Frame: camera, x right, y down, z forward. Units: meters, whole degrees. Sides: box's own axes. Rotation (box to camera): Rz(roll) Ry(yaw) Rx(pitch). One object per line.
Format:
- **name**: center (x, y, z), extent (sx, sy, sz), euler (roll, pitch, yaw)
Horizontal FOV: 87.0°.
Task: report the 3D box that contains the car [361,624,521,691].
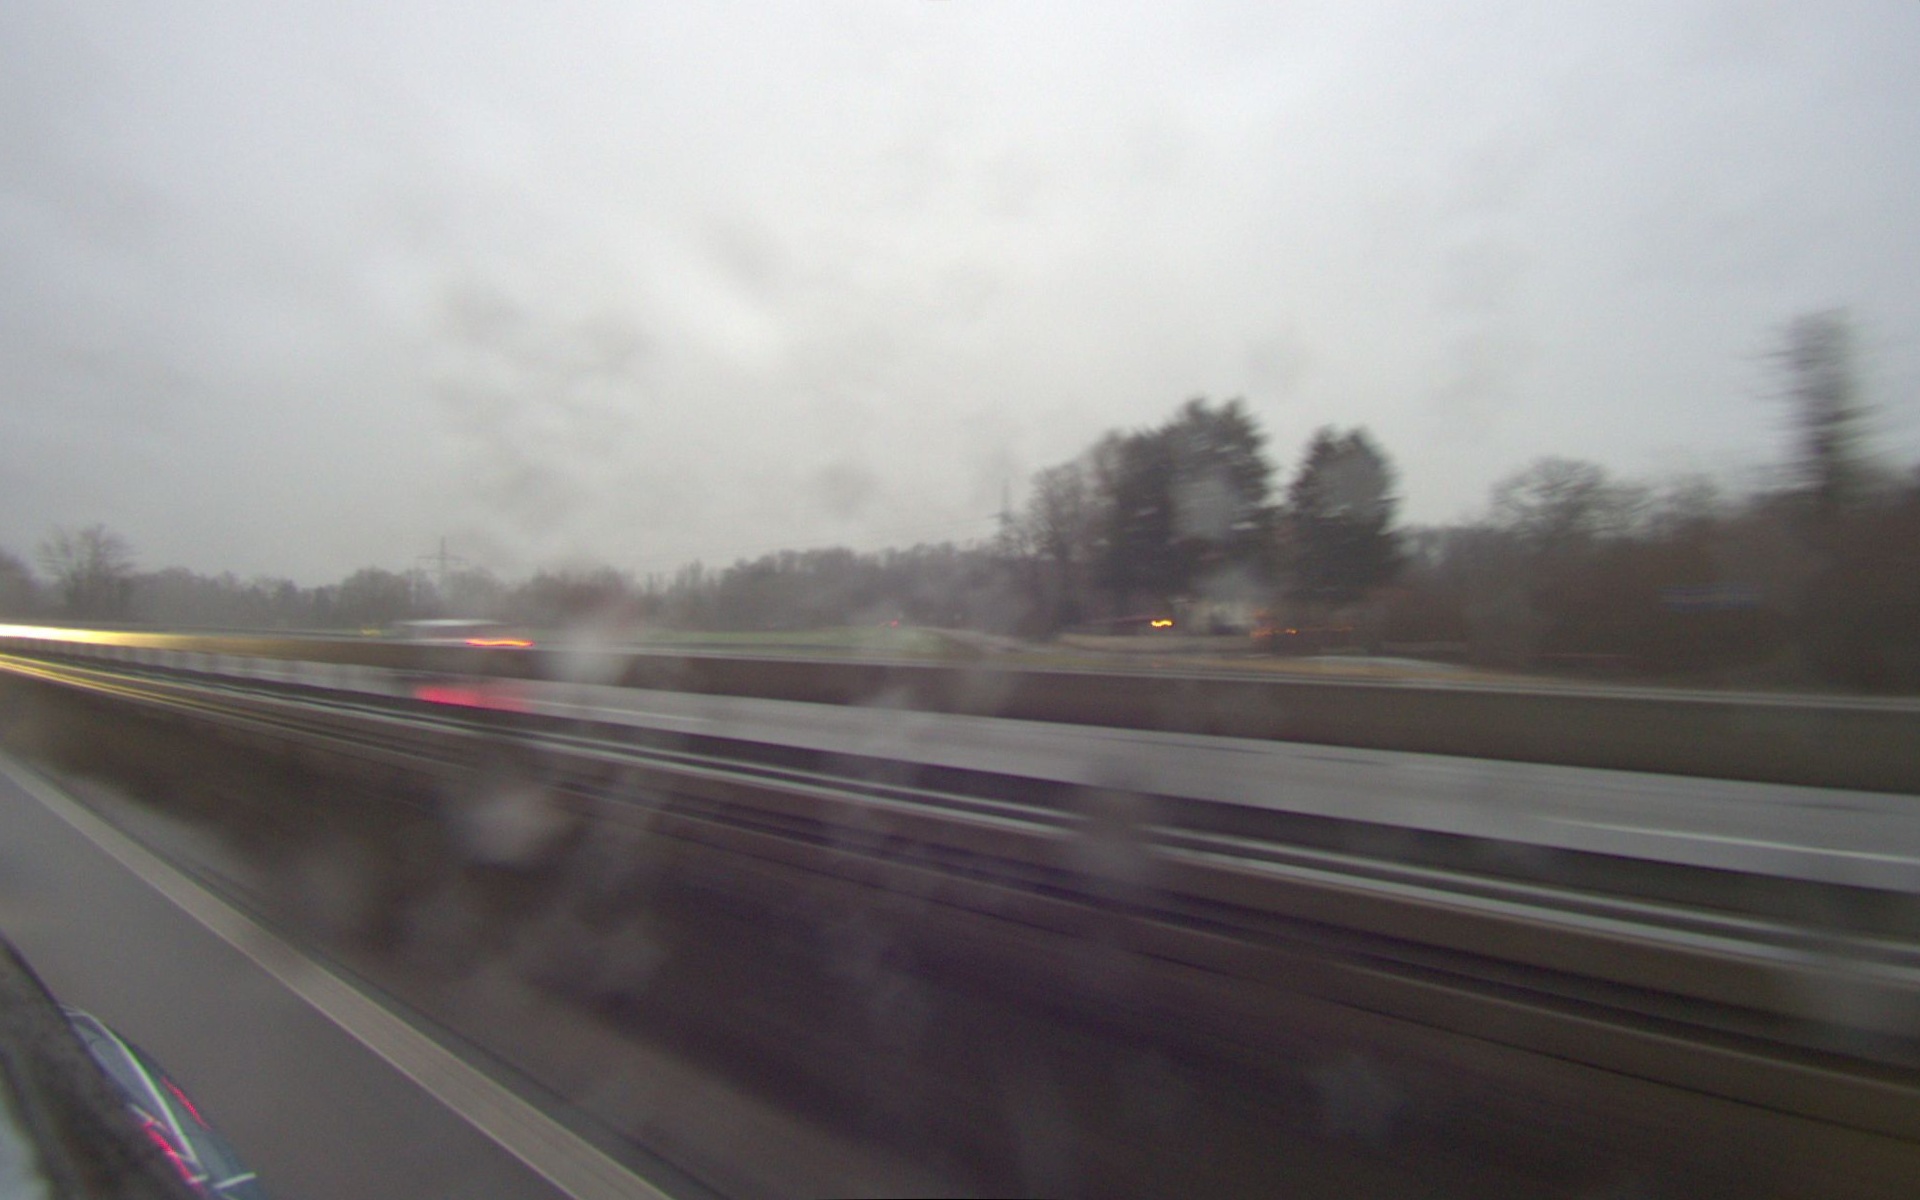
- **car**: center (-12.676, 1.332, 24.601), extent (4.547, 1.450, 1.906), euler (-2, -1, 41)
